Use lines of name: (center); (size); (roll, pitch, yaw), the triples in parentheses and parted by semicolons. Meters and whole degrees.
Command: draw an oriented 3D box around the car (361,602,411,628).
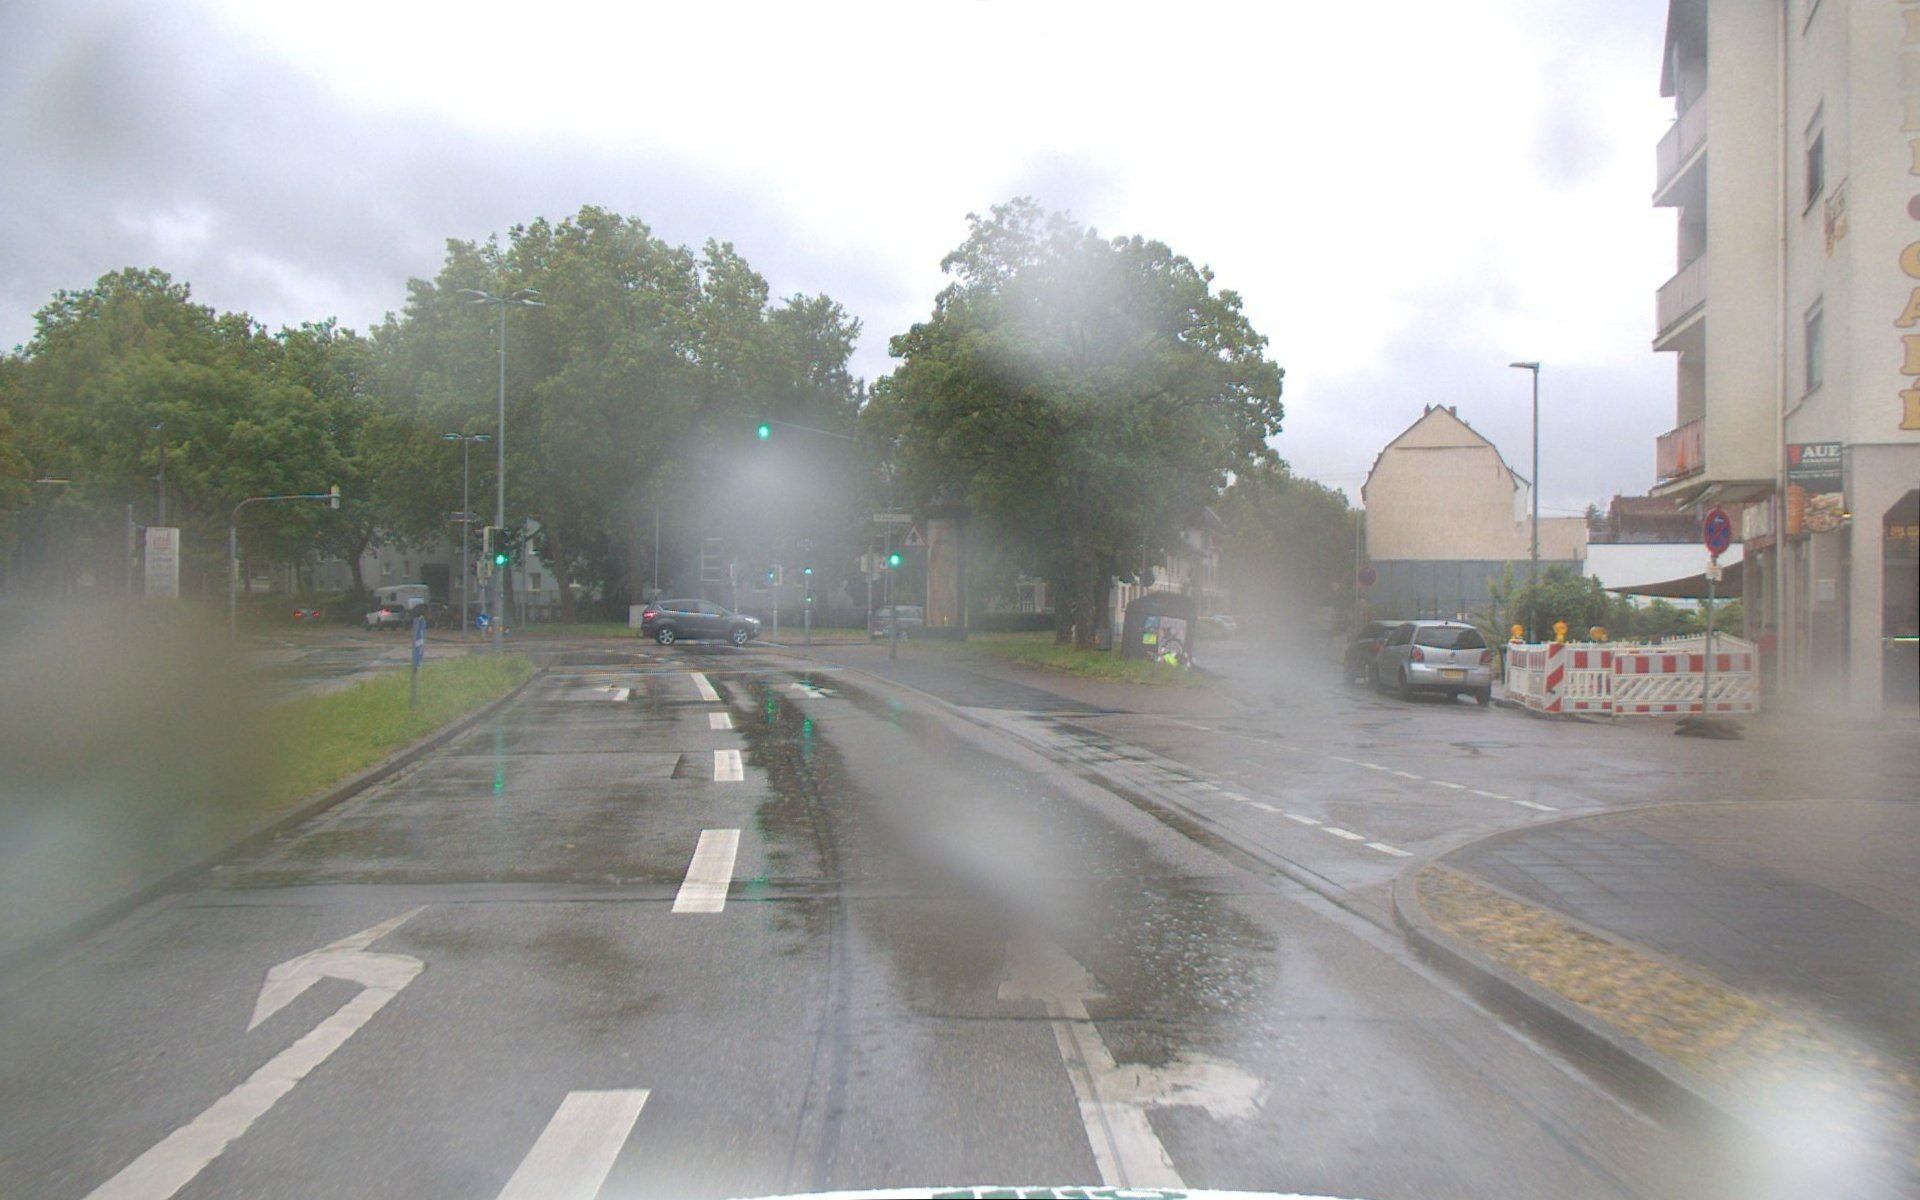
car: (-34.290, 0.888, 98.764); (1.696, 1.436, 3.592); (-2, 1, -40)

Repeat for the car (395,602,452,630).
car: (-33.821, 1.046, 104.154); (1.904, 1.649, 4.387); (2, -3, -41)

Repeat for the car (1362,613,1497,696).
car: (8.879, 1.004, 31.586); (1.600, 1.459, 4.178); (1, -1, 3)

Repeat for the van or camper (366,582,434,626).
van or camper: (-37.999, 0.299, 112.040); (2.302, 2.857, 6.770); (1, -1, -38)

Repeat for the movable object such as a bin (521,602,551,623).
movable object such as a bin: (-30.649, 0.894, 119.499); (1.823, 1.458, 1.213); (0, -1, 33)

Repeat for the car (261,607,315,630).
car: (-53.698, 1.468, 132.279); (1.794, 1.727, 3.868); (0, 2, 22)

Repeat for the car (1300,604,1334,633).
car: (28.314, 1.487, 131.153); (2.300, 2.247, 4.615); (1, -1, 16)

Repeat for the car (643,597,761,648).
car: (-9.554, 0.830, 61.073); (4.214, 1.775, 1.994); (1, -1, -11)

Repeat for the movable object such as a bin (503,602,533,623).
movable object such as a bin: (-32.224, 0.895, 120.536); (1.823, 1.458, 1.213); (0, -1, 33)

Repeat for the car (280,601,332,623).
car: (-51.285, 0.966, 129.782); (1.760, 1.629, 3.769); (0, -1, 20)

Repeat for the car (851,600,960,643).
car: (-2.123, 0.859, 64.994); (1.966, 1.630, 4.061); (0, -1, 44)

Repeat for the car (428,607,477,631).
car: (-30.898, 1.146, 100.622); (1.537, 1.414, 4.094); (2, -1, -37)

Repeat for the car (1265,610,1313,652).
car: (13.758, 1.292, 69.390); (1.814, 1.683, 4.308); (1, -1, 9)

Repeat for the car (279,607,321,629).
car: (-45.817, 1.208, 114.773); (1.696, 1.436, 3.592); (-2, 1, -40)

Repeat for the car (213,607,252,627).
car: (-61.937, 1.464, 140.770); (1.904, 1.649, 4.305); (2, -1, -41)

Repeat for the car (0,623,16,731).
car: (-13.038, 0.969, 20.045); (1.517, 1.422, 4.181); (2, -1, -12)

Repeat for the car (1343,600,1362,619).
car: (43.587, 1.047, 183.709); (1.951, 2.049, 4.002); (1, -1, 15)

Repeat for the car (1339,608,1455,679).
car: (9.599, 0.949, 36.627); (1.662, 1.459, 4.158); (1, -1, 3)

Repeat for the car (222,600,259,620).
car: (-55.011, 0.756, 126.460); (1.696, 1.436, 3.592); (-2, 1, -40)
